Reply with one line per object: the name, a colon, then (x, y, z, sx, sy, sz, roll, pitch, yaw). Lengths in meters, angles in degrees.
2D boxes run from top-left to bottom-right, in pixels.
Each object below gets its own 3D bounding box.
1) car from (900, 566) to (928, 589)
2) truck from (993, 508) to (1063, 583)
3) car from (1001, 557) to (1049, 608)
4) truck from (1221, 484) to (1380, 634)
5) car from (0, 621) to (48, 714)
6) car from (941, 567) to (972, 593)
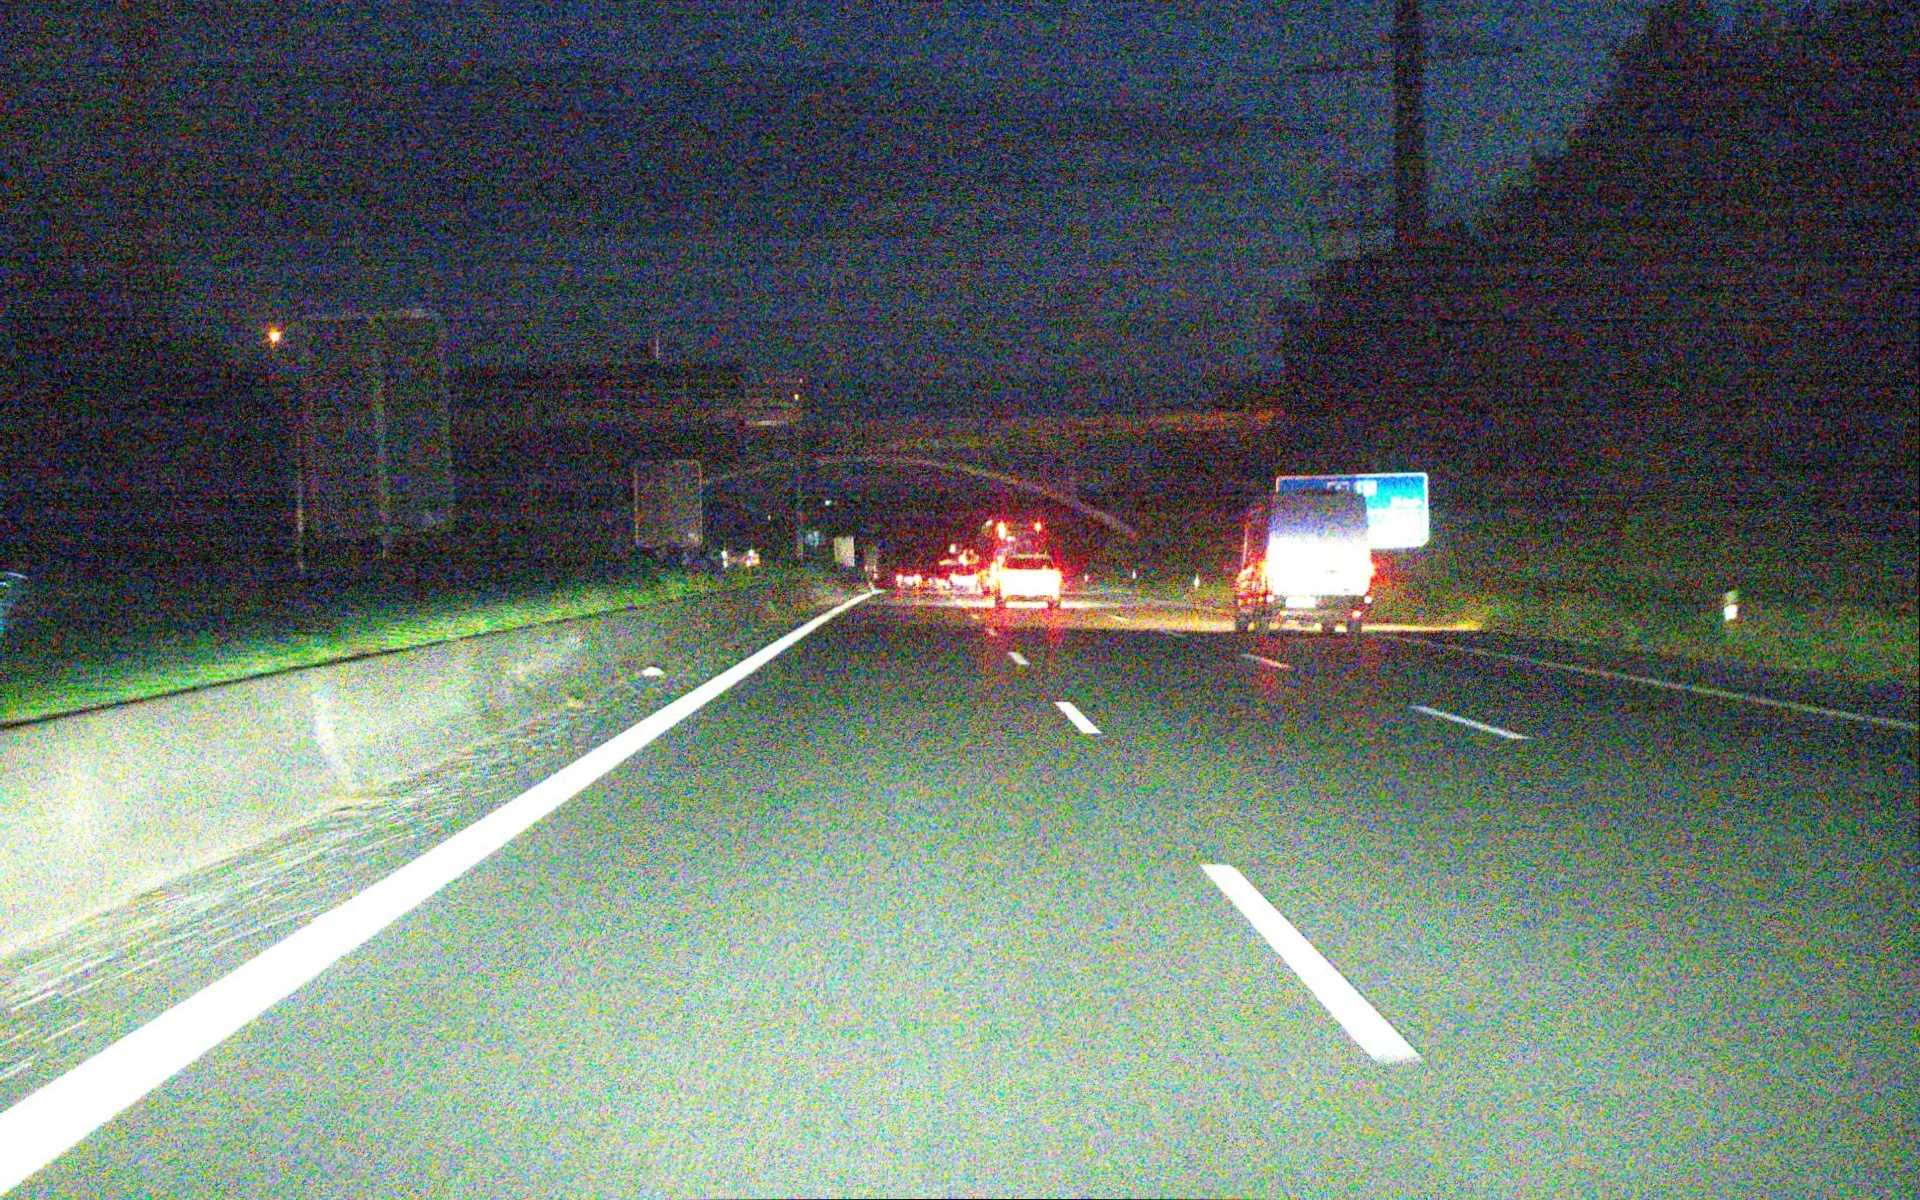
car: (-3.201, -1.573, 239.977, 1.821, 1.461, 4.248, 1, 2, 0)
truck: (3.123, -2.601, 160.676, 3.044, 3.313, 10.142, 1, 2, 0)
car: (1.893, -0.537, 100.510, 1.346, 1.382, 3.502, 1, 2, 0)
truck: (6.464, -0.712, 66.059, 2.076, 2.682, 7.308, 1, -1, -2)
car: (-16.846, 1.120, 58.254, 1.637, 1.546, 4.470, 1, -1, -1)
car: (-0.211, -1.209, 208.878, 1.821, 1.461, 4.248, 1, 2, 0)
